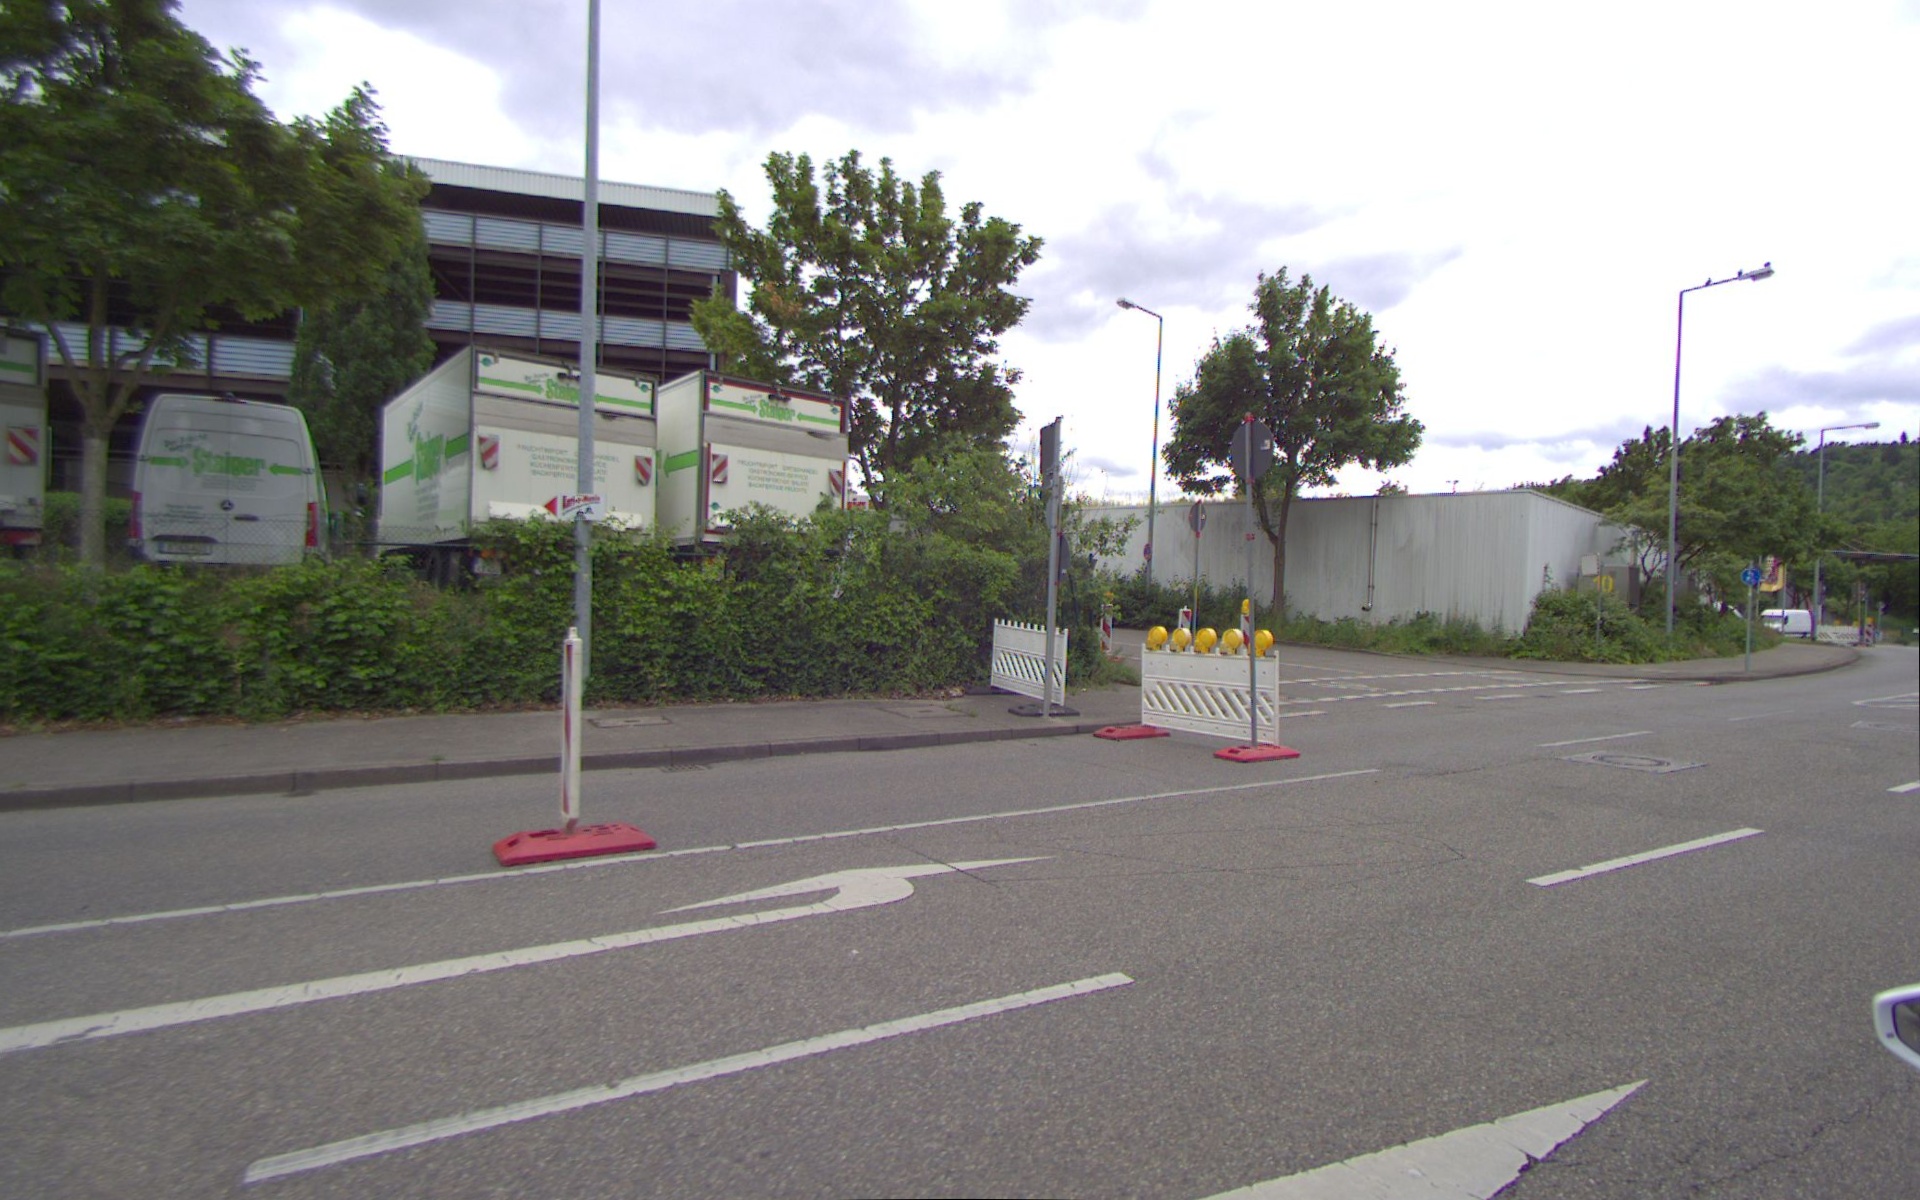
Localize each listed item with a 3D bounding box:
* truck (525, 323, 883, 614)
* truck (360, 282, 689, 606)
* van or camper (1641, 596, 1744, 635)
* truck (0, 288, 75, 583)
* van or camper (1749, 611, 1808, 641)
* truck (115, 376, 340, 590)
[{"bbox_3d":[-5.376,-2.003,19.052,3.025,4.044,9.549,3,0,-37],"label":"truck"},{"bbox_3d":[-7.671,-2.123,16.901,3.027,4.044,7.778,3,0,-39],"label":"truck"},{"bbox_3d":[53.794,1.128,73.839,5.913,2.276,2.385,6,2,40],"label":"van or camper"},{"bbox_3d":[-14.497,-2.061,12.952,7.740,3.292,3.041,3,0,37],"label":"truck"},{"bbox_3d":[70.683,2.256,86.746,6.584,2.357,1.996,3,0,-33],"label":"van or camper"},{"bbox_3d":[-10.264,-1.453,14.466,2.172,2.437,4.662,3,0,-32],"label":"truck"}]
